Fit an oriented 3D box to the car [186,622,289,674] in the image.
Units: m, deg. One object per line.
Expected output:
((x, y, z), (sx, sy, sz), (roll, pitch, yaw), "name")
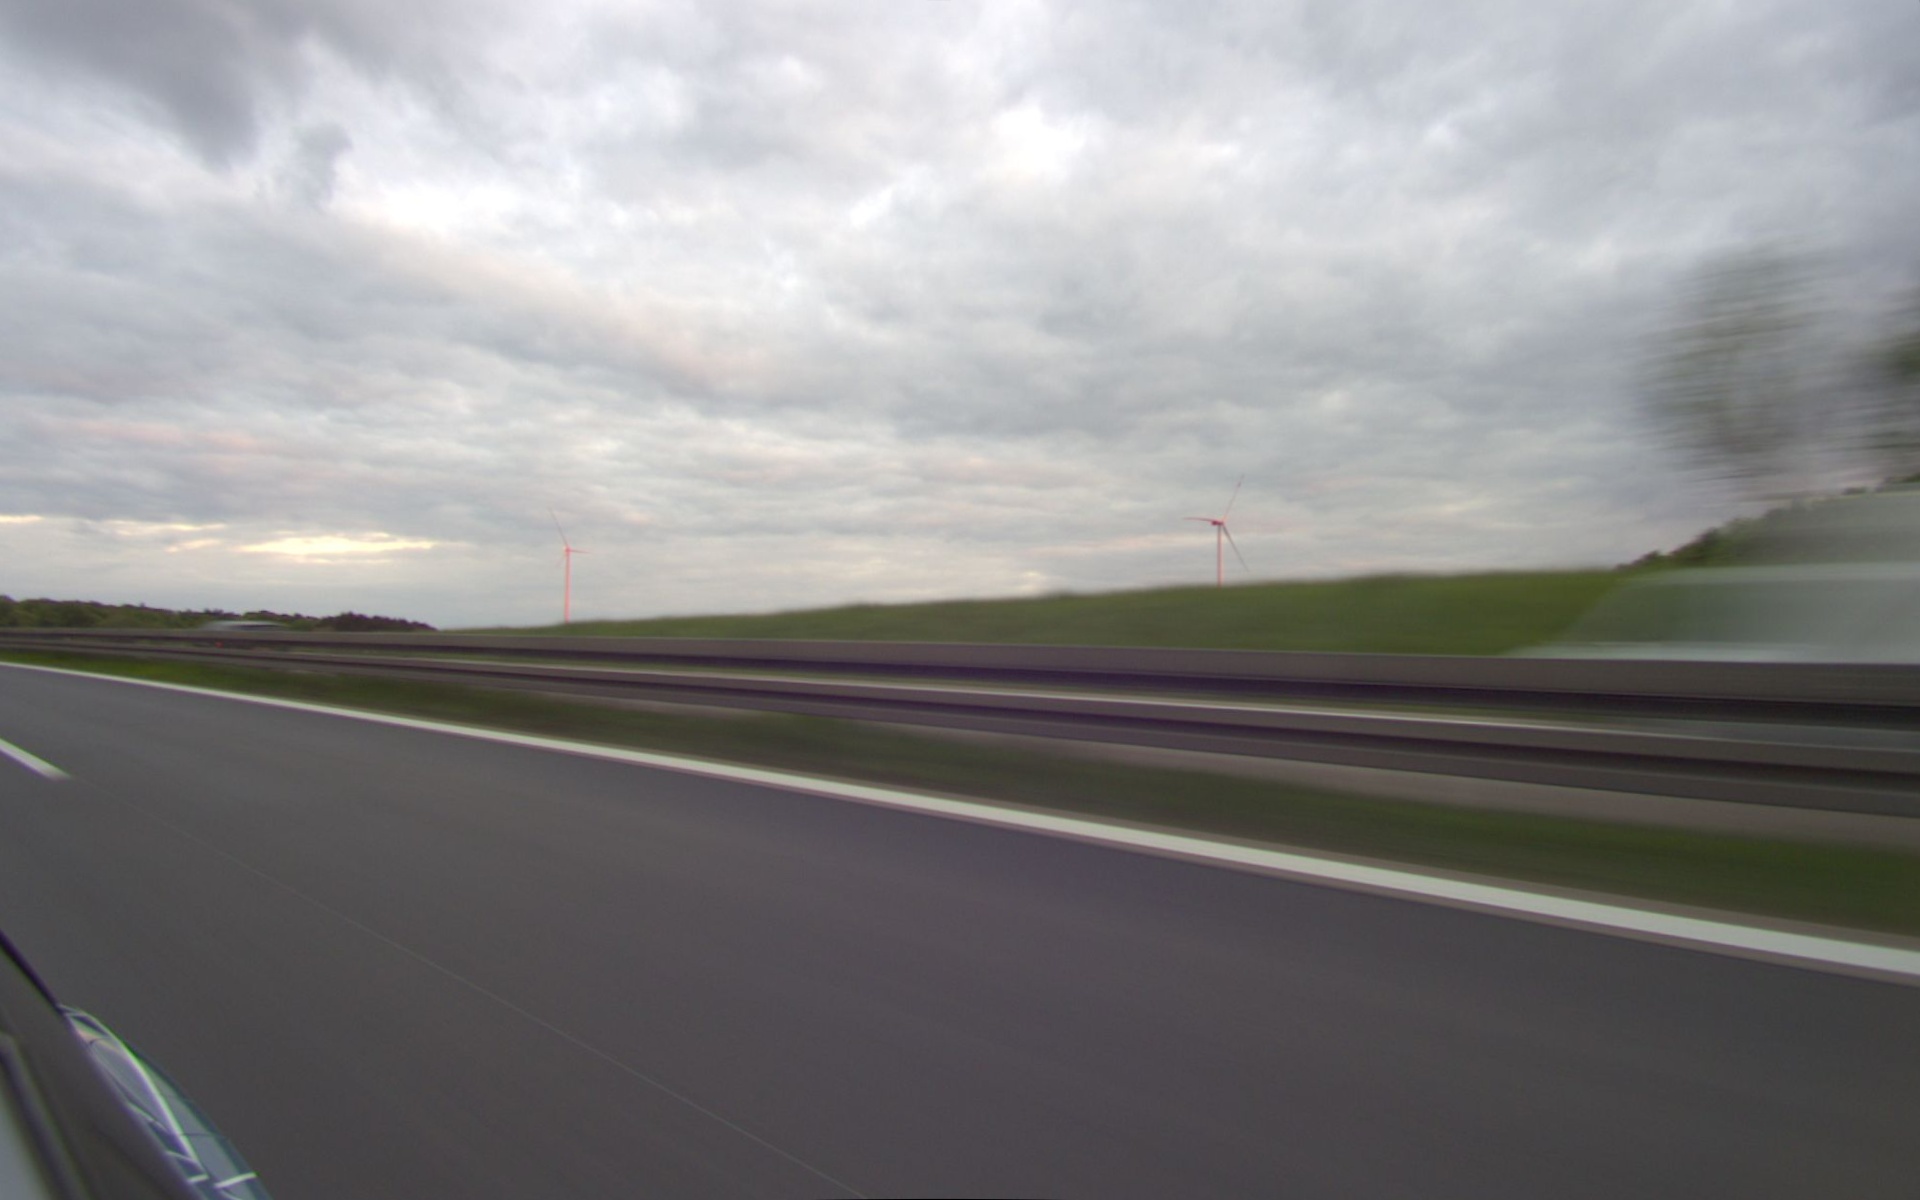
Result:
((-26.016, 1.691, 36.377), (4.630, 1.728, 1.758), (-1, -1, 38), "car")

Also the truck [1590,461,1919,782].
((10.646, 0.197, 10.472), (6.664, 3.133, 2.585), (-1, -1, 41), "truck")
